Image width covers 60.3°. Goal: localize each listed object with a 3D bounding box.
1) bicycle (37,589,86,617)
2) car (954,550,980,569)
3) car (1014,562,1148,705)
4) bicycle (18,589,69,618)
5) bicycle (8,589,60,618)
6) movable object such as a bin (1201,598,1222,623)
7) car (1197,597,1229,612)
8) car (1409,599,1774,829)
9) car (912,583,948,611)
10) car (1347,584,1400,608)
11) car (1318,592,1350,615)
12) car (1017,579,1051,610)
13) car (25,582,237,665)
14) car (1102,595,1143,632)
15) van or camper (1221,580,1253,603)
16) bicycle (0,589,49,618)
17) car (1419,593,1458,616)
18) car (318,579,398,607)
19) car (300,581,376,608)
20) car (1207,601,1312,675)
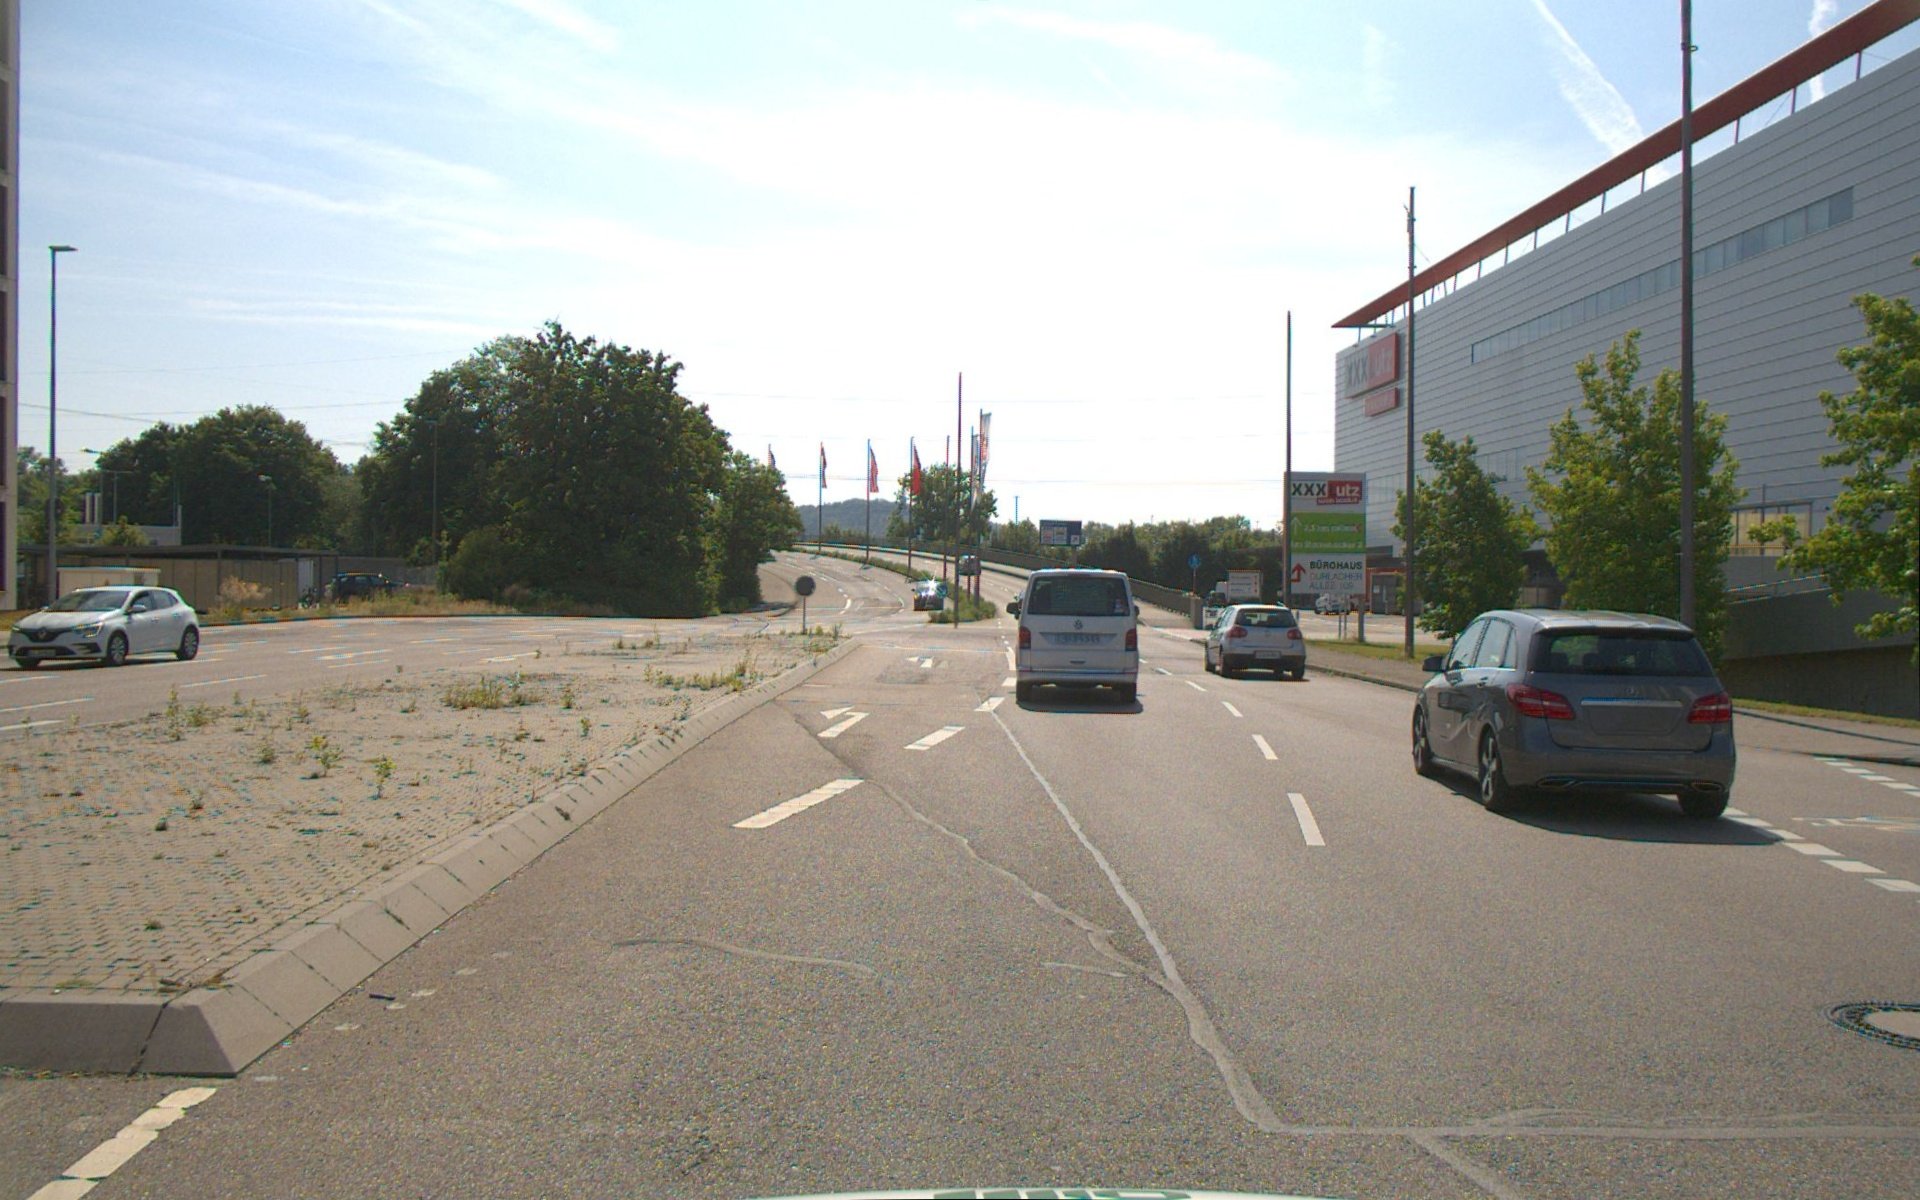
[{"bbox_3d":[-36.908,0.135,67.943,1.668,1.110,0.588,1,0,-3],"label":"bicycle"},{"bbox_3d":[0.595,-3.470,142.967,1.505,1.505,3.413,2,0,-14],"label":"car"},{"bbox_3d":[1.812,0.464,25.864,1.877,2.010,4.298,1,0,2],"label":"car"},{"bbox_3d":[-36.781,0.148,66.361,1.668,1.110,0.588,1,0,-3],"label":"bicycle"},{"bbox_3d":[-36.767,0.144,65.669,1.668,1.110,0.588,1,0,-3],"label":"bicycle"},{"bbox_3d":[11.902,0.491,78.333,0.793,1.133,1.182,1,0,1],"label":"movable object such as a bin"},{"bbox_3d":[25.907,0.449,169.631,1.959,1.445,3.988,3,-1,-12],"label":"car"},{"bbox_3d":[5.044,0.805,13.835,1.736,1.566,4.140,2,0,5],"label":"car"},{"bbox_3d":[-1.808,-0.202,101.314,1.875,1.634,4.273,1,0,3],"label":"car"},{"bbox_3d":[35.915,-0.384,143.730,4.102,1.962,1.776,1,1,-1],"label":"car"},{"bbox_3d":[30.155,0.276,133.382,1.638,1.782,4.094,1,1,0],"label":"car"},{"bbox_3d":[3.787,-0.310,84.972,1.500,1.505,3.247,2,0,-1],"label":"car"},{"bbox_3d":[-16.011,0.467,32.225,1.744,1.486,4.335,1,-1,3],"label":"car"},{"bbox_3d":[7.169,0.568,73.069,1.499,1.505,3.596,2,0,2],"label":"car"},{"bbox_3d":[30.372,-0.909,181.461,2.057,2.216,5.434,3,-1,24],"label":"van or camper"},{"bbox_3d":[-36.730,0.146,64.863,1.668,1.110,0.588,1,0,-3],"label":"bicycle"},{"bbox_3d":[34.261,0.284,118.525,1.638,1.535,4.094,1,1,0],"label":"car"},{"bbox_3d":[-32.844,-0.365,90.246,4.043,1.445,1.716,1,-1,-23],"label":"car"},{"bbox_3d":[-35.730,-0.311,94.989,4.043,1.445,1.716,1,-1,-23],"label":"car"},{"bbox_3d":[6.294,0.797,35.043,1.632,1.439,3.683,1,-1,2],"label":"car"}]
